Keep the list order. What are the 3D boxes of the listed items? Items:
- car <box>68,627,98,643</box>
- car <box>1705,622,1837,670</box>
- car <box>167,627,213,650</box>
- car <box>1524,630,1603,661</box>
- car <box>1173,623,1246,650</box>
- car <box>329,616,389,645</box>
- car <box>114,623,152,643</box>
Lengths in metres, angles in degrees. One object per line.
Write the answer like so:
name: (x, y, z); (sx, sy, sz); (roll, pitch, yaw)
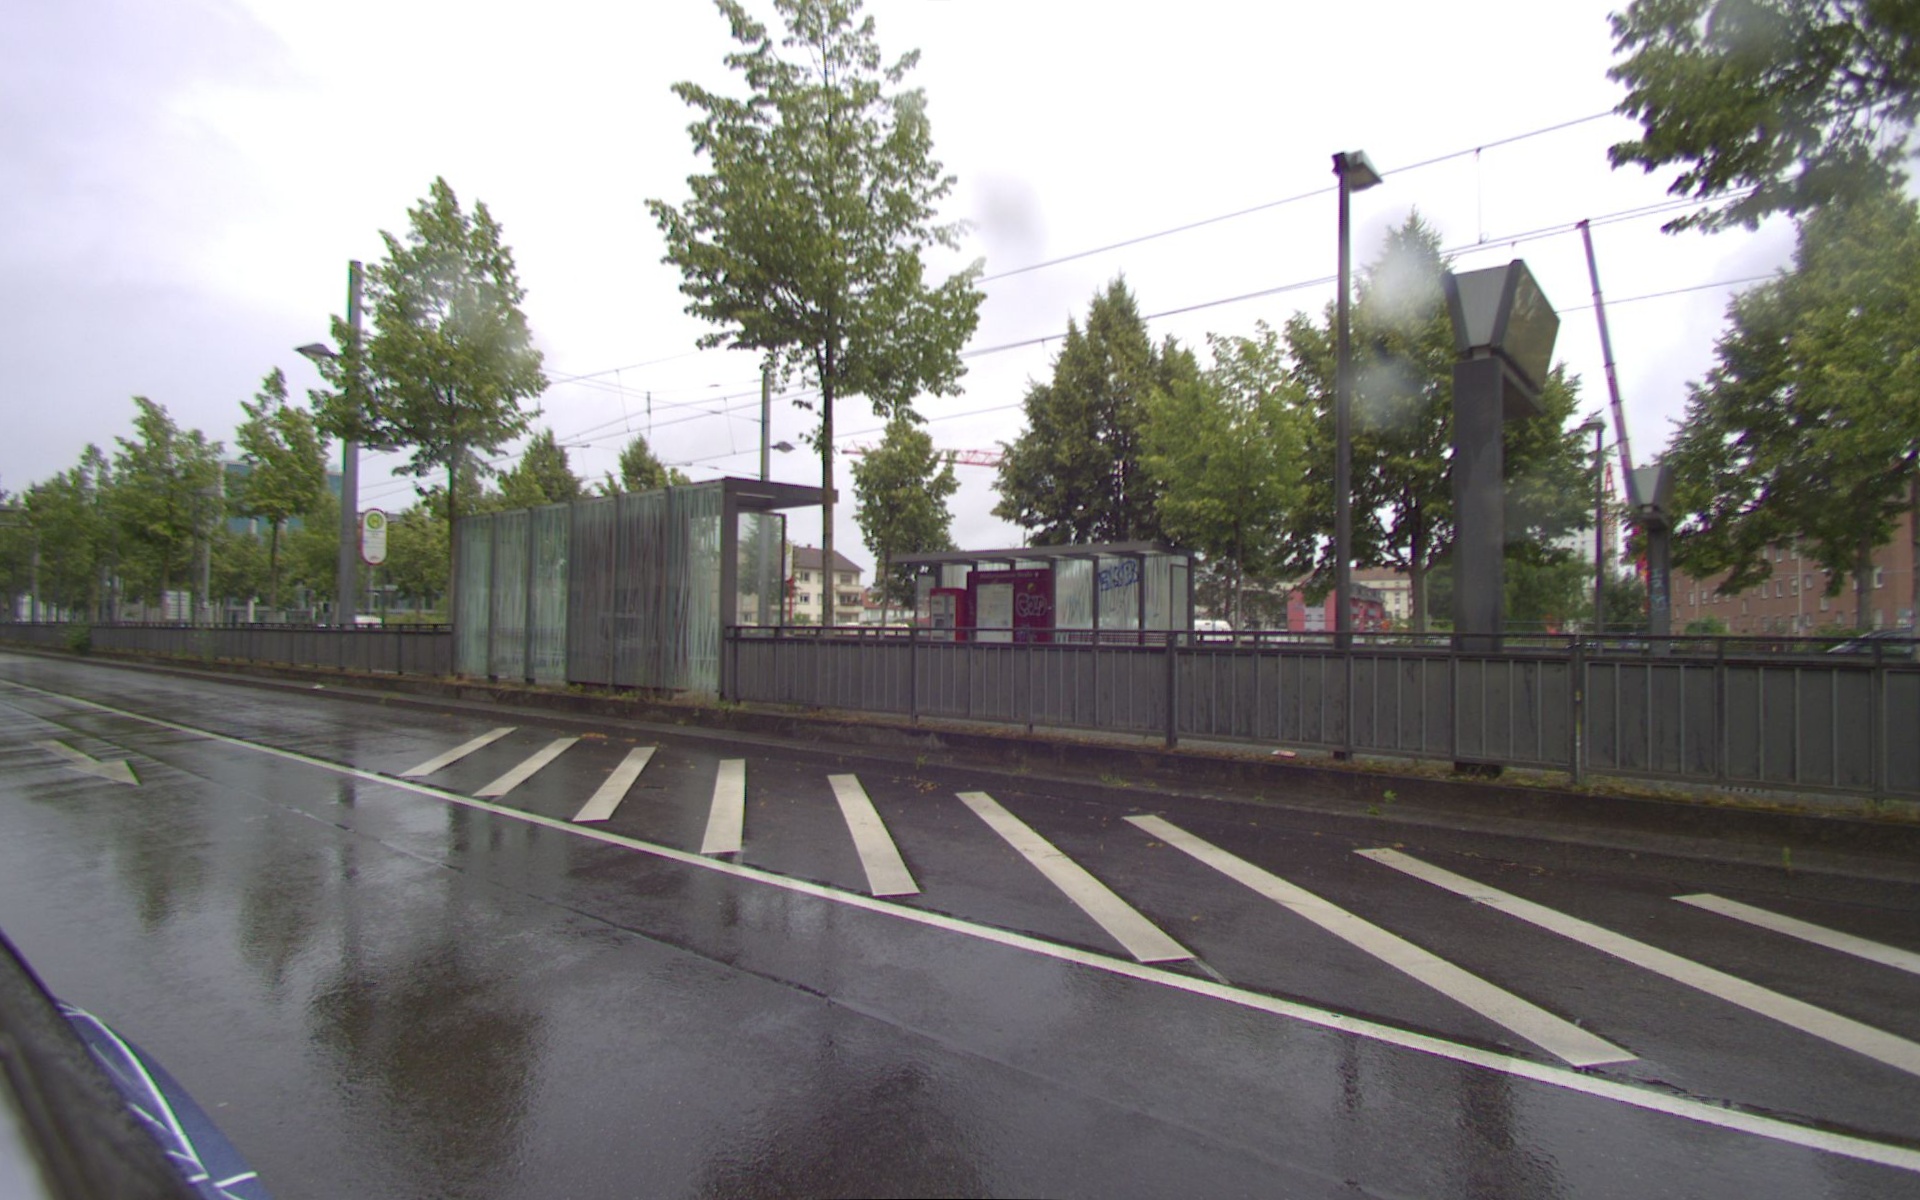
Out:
car: (-106.729, 4.256, 123.168); (3.994, 1.759, 1.975); (-1, 0, 38)
car: (44.233, 2.465, 55.378); (5.482, 2.471, 1.976); (-1, 0, 35)
car: (-62.493, 3.115, 82.108); (3.994, 1.759, 1.975); (-1, 0, 38)
car: (39.902, 3.011, 66.980); (4.414, 1.891, 1.855); (-1, 0, 34)
car: (20.087, 2.895, 81.593); (5.411, 2.067, 1.976); (-1, 0, 36)
car: (-38.623, 1.910, 64.987); (3.994, 1.759, 1.975); (-1, 0, 38)
car: (-77.163, 3.042, 94.407); (3.994, 1.759, 1.975); (-1, 0, 38)
